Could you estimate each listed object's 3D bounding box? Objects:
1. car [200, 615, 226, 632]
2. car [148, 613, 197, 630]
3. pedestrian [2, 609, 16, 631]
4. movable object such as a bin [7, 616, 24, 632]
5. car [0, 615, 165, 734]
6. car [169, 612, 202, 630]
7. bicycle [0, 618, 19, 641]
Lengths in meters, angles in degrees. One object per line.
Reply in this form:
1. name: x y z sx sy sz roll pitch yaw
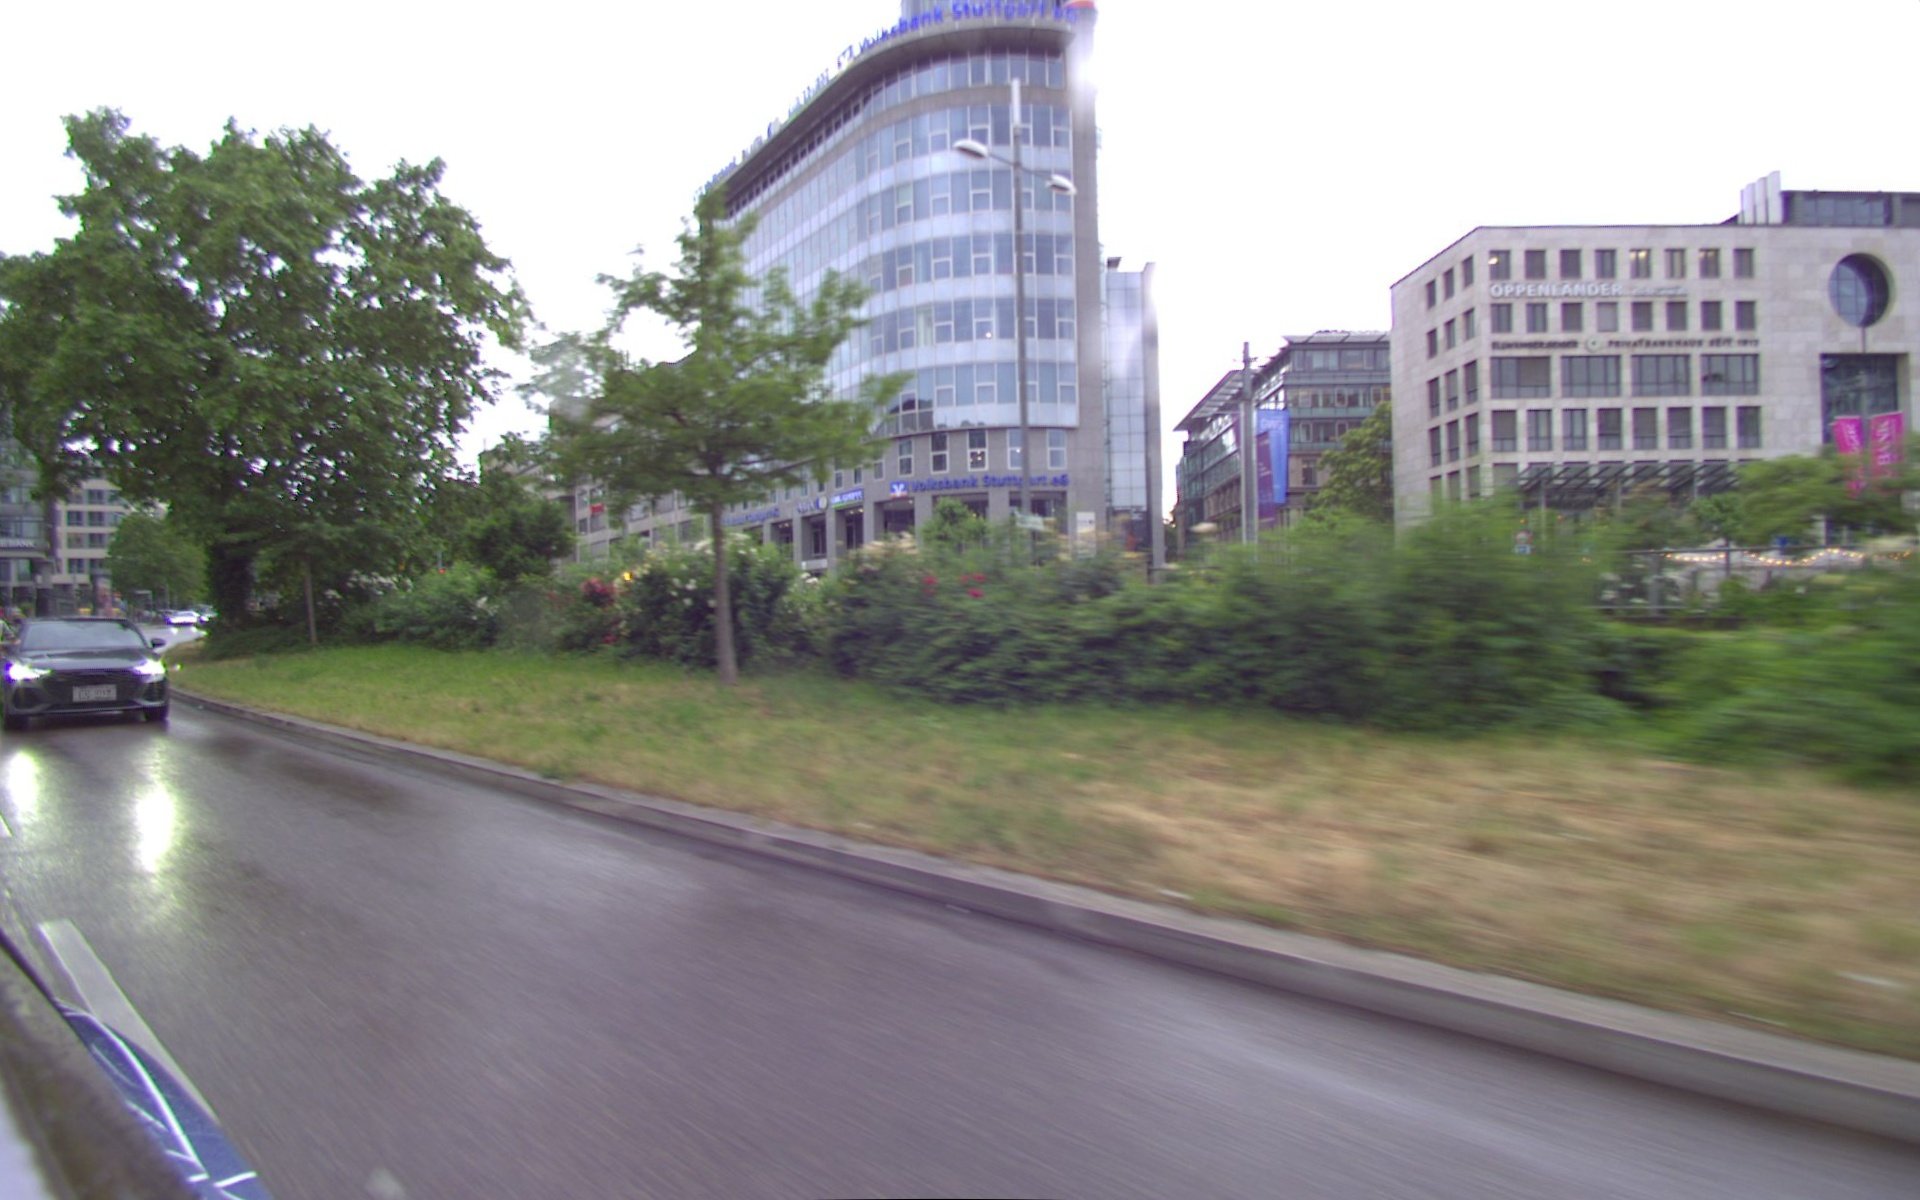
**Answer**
1. car: -63.393 1.981 85.879 1.580 1.395 3.027 -3 1 -34
2. car: -92.478 2.533 118.910 4.155 1.826 2.000 -2 1 1
3. pedestrian: -79.882 1.699 85.015 0.712 1.844 0.748 1 -1 -36
4. movable object such as a bin: -78.679 1.980 84.328 0.792 1.275 1.792 1 -1 -36
5. car: -13.553 1.013 15.433 1.839 1.529 4.349 -1 0 -44
6. car: -71.744 1.924 93.781 2.039 1.599 4.118 -3 1 -34
7. bicycle: -51.427 1.585 54.015 1.708 1.192 0.690 0 -1 -40
